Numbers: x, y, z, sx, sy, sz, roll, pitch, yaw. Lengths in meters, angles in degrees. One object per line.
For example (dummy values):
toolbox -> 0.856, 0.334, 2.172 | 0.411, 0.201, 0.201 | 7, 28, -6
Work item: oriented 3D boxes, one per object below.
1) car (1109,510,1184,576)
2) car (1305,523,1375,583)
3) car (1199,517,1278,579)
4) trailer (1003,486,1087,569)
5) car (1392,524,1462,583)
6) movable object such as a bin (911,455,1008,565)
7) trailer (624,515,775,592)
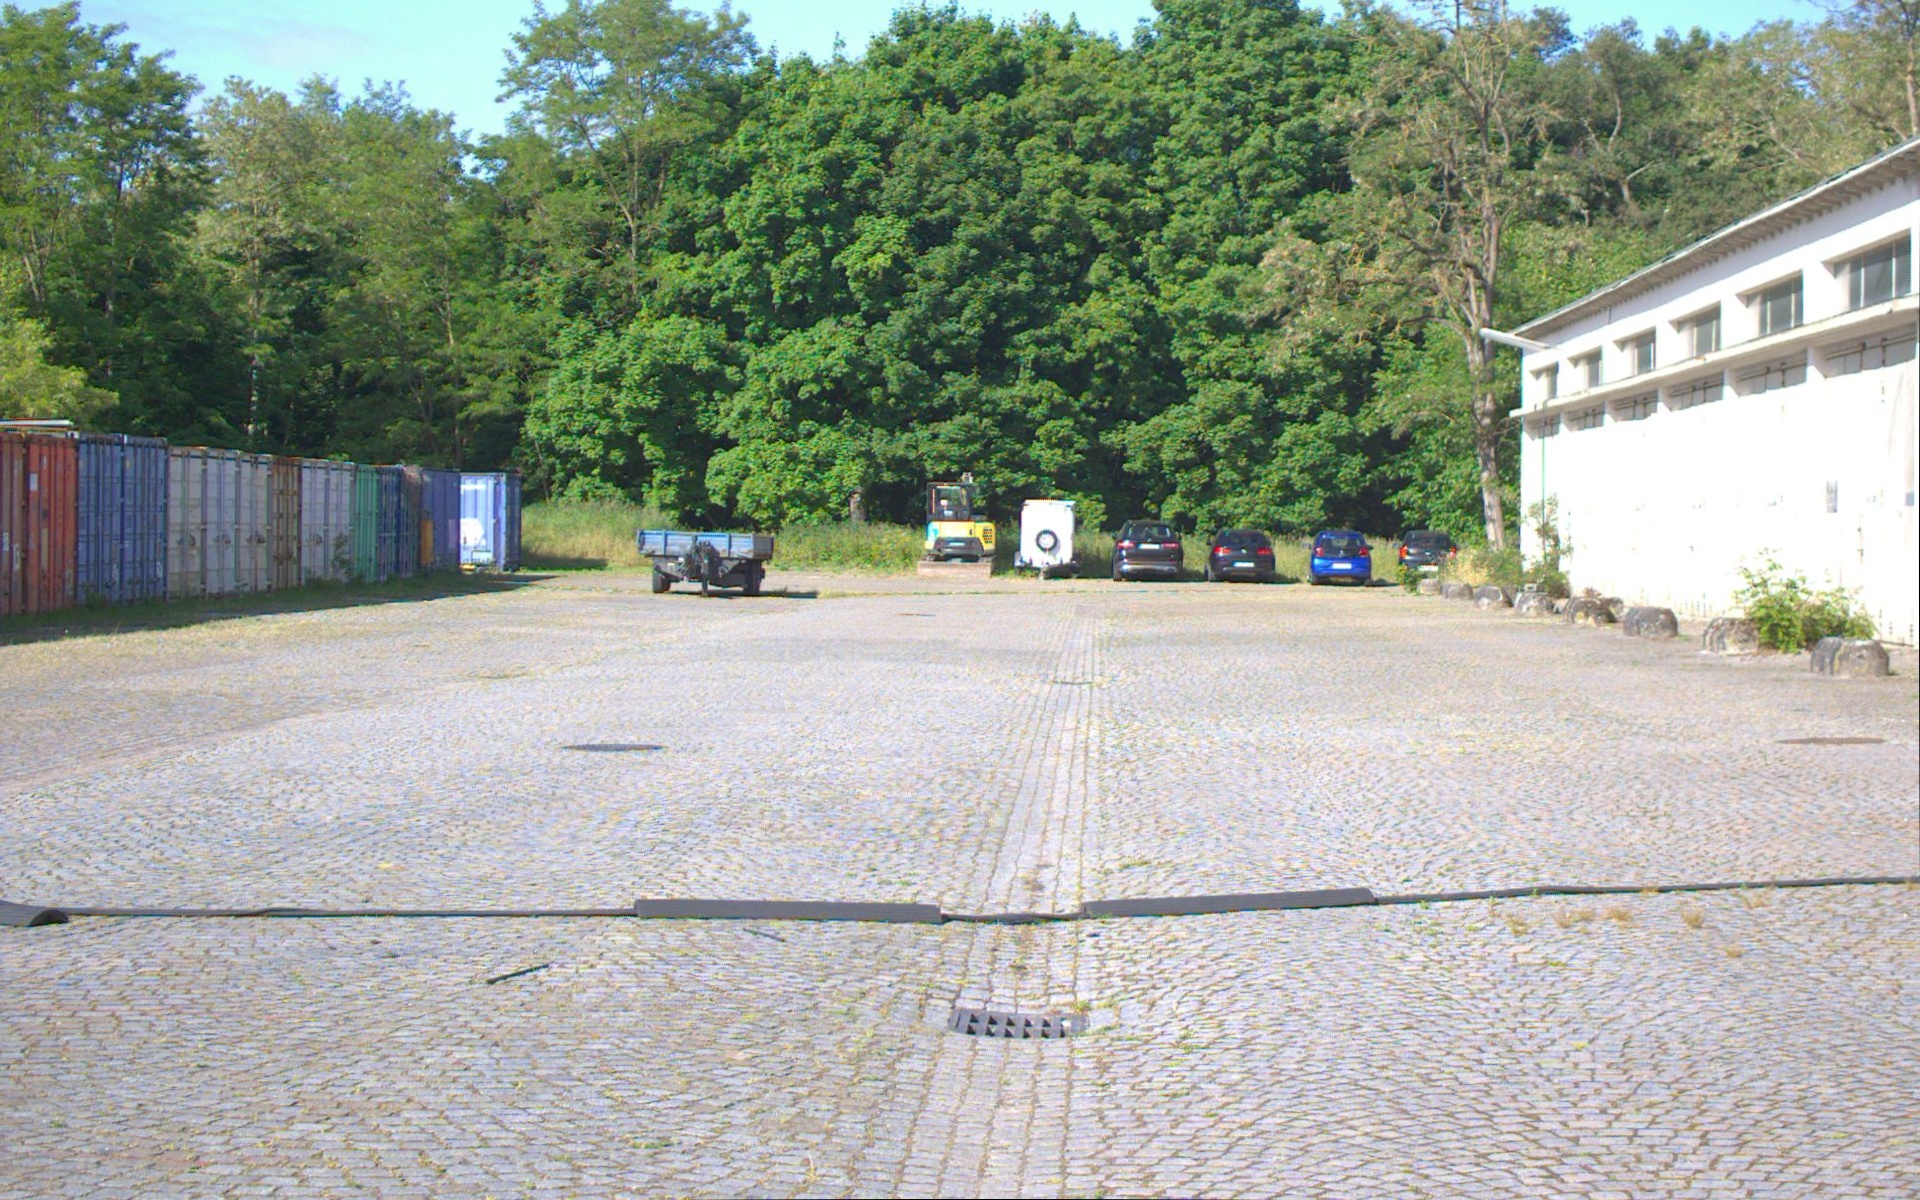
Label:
car -> 4.982, -1.545, 92.382 | 1.864, 1.583, 4.296 | 2, 3, 2
car -> 10.243, -1.286, 92.448 | 1.744, 1.431, 4.182 | 2, 3, 7
car -> 7.482, -1.416, 92.636 | 1.864, 1.465, 4.296 | 2, 3, 2
trailer -> 2.379, -2.041, 94.875 | 2.193, 2.087, 5.751 | 2, 3, 2
car -> 12.748, -1.286, 93.741 | 1.745, 1.431, 4.182 | 2, 3, 9
movable object such as a bin -> 0.032, -2.550, 95.568 | 2.306, 2.886, 5.751 | 2, 3, 3
trailer -> -5.626, -1.047, 75.158 | 2.705, 1.460, 6.248 | 2, 2, 1
